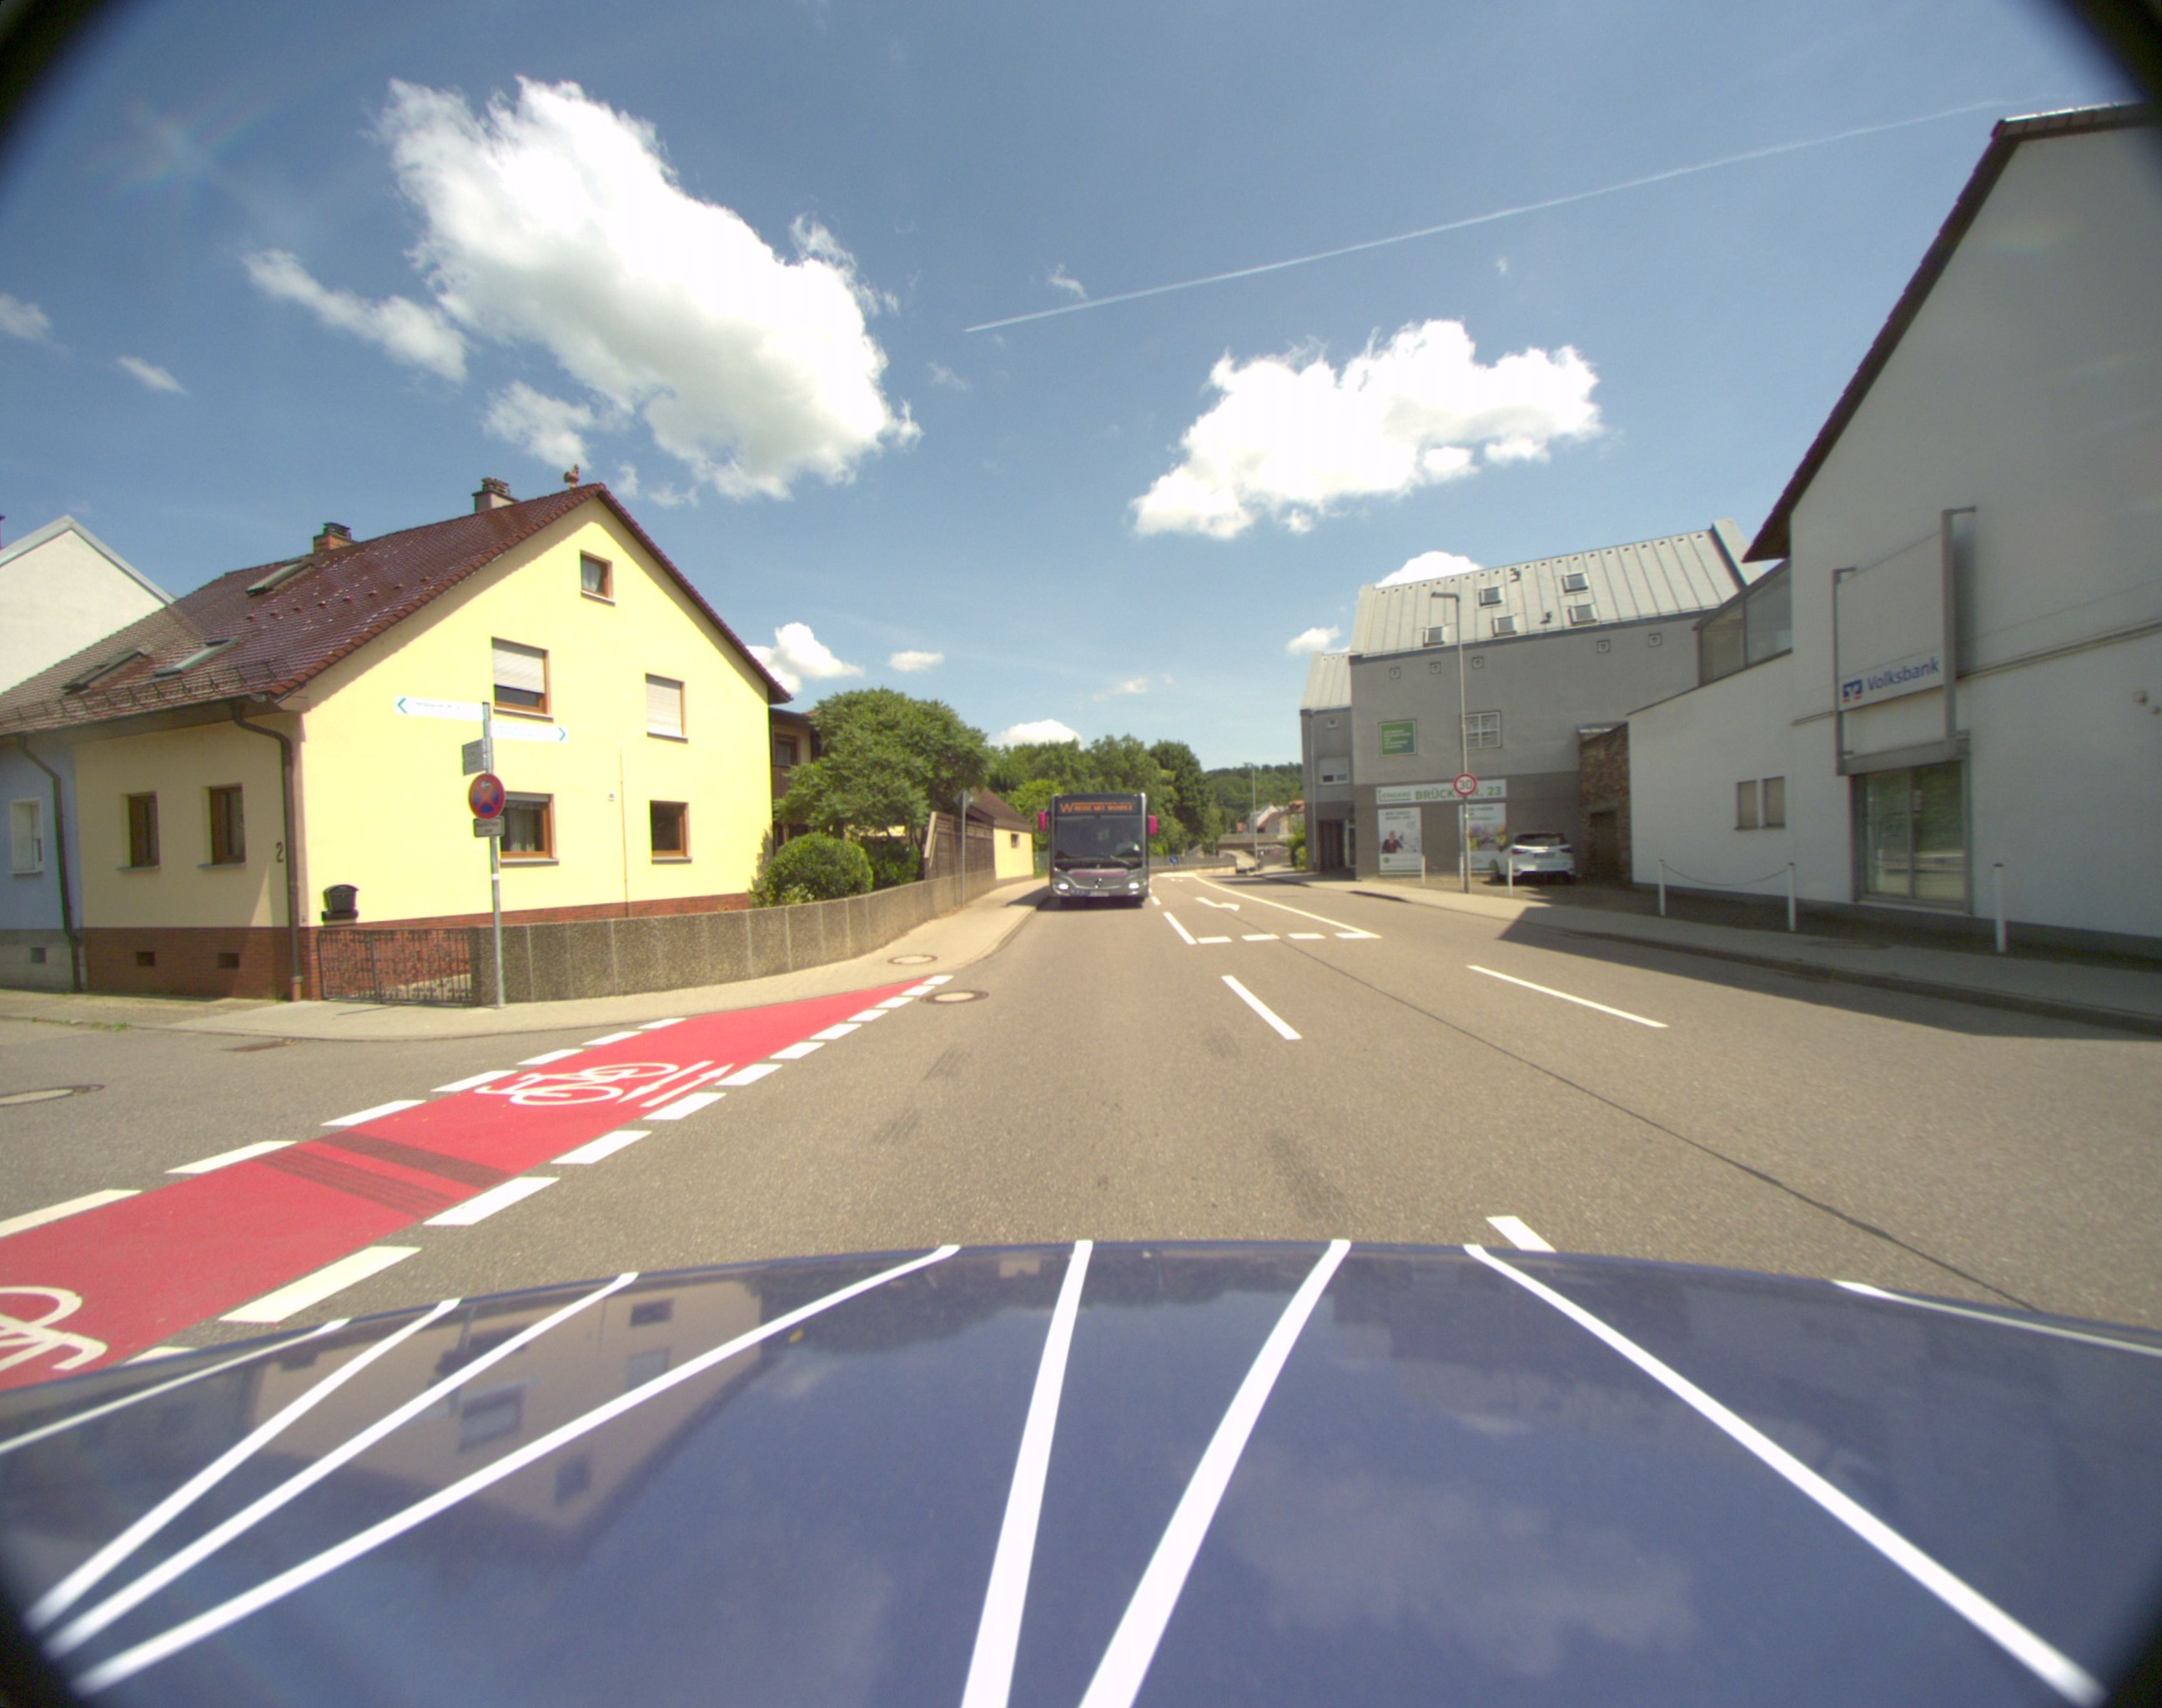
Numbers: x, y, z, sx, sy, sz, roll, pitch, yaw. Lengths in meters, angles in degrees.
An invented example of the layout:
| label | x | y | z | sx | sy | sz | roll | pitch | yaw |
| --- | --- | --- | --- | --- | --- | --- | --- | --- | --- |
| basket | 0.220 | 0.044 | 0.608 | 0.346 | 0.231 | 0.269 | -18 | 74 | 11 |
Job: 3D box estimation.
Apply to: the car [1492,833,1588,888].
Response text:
| label | x | y | z | sx | sy | sz | roll | pitch | yaw |
| --- | --- | --- | --- | --- | --- | --- | --- | --- | --- |
| car | 14.353 | 0.173 | 24.010 | 1.995 | 1.565 | 4.259 | -1 | 0 | 23 |

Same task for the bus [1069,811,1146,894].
| label | x | y | z | sx | sy | sz | roll | pitch | yaw |
| --- | --- | --- | --- | --- | --- | --- | --- | --- | --- |
| bus | 1.137 | 0.031 | 32.089 | 2.755 | 2.949 | 9.284 | -1 | -1 | 2 |

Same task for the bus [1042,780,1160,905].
| label | x | y | z | sx | sy | sz | roll | pitch | yaw |
| --- | --- | --- | --- | --- | --- | --- | --- | --- | --- |
| bus | 0.712 | -0.178 | 22.740 | 2.755 | 2.949 | 9.284 | -1 | -1 | 3 |

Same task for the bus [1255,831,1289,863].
| label | x | y | z | sx | sy | sz | roll | pitch | yaw |
| --- | --- | --- | --- | --- | --- | --- | --- | --- | --- |
| bus | 26.888 | -0.862 | 106.715 | 2.813 | 3.977 | 10.986 | -4 | -2 | 22 |
